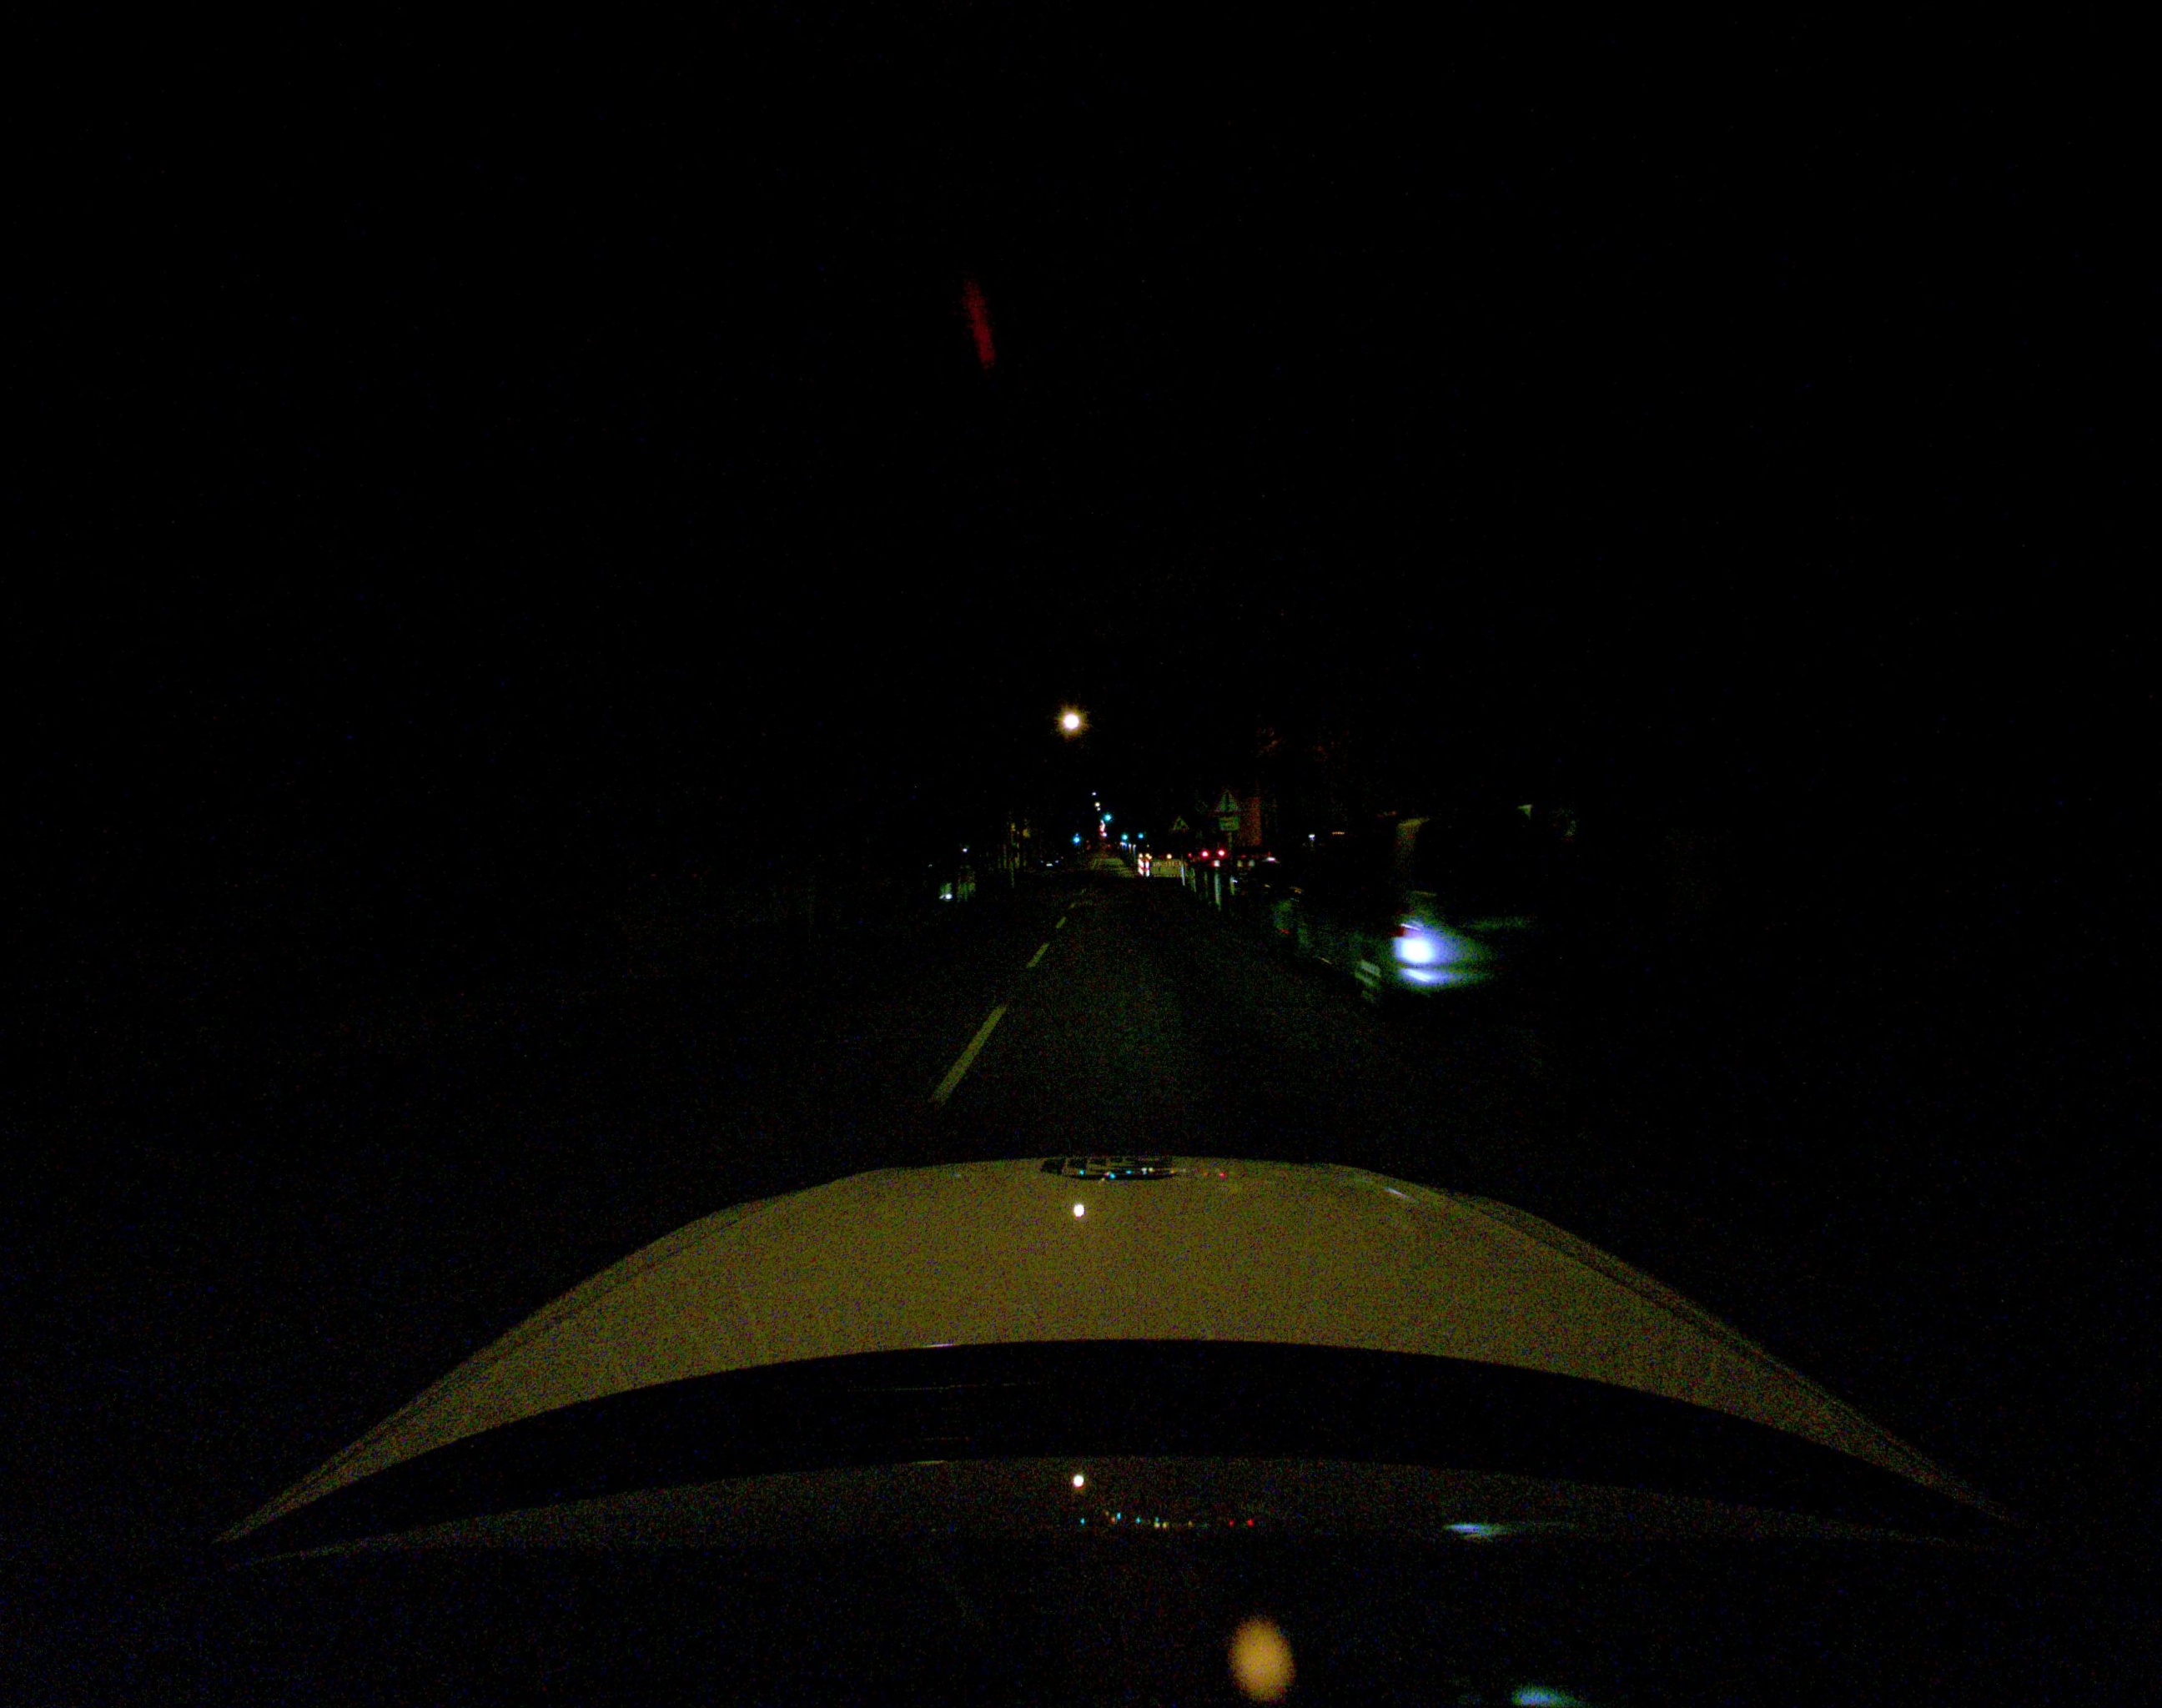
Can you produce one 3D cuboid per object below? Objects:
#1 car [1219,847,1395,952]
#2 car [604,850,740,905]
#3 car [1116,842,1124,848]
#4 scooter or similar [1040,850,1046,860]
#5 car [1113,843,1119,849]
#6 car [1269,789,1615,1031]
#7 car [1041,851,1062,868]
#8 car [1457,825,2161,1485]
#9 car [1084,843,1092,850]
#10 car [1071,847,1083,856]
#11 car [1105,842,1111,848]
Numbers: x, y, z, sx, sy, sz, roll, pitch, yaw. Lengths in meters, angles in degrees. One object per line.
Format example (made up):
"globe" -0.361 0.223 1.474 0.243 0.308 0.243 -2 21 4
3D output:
"car" 3.611 0.656 13.851 1.722 1.419 4.322 -3 0 -1
"car" -20.954 1.222 41.922 5.825 2.544 2.246 -2 -3 0
"car" 9.513 -2.165 198.418 1.866 1.544 4.206 -2 1 2
"scooter or similar" -4.796 0.181 102.093 0.526 1.165 2.508 -4 -1 1
"car" 10.173 -2.394 237.380 1.866 1.544 4.206 -2 1 2
"car" 3.404 0.449 8.713 1.730 1.855 4.316 -3 0 0
"car" -2.732 0.519 76.120 1.665 1.443 4.206 -2 1 2
"car" 3.258 0.650 3.066 1.679 1.421 4.445 -3 0 2
"car" 1.766 -1.911 209.865 1.866 1.814 4.206 -3 1 2
"car" -0.680 -0.525 147.370 1.866 1.544 4.206 -2 1 2
"car" 8.103 -2.813 245.573 1.866 1.814 4.208 -2 1 3
